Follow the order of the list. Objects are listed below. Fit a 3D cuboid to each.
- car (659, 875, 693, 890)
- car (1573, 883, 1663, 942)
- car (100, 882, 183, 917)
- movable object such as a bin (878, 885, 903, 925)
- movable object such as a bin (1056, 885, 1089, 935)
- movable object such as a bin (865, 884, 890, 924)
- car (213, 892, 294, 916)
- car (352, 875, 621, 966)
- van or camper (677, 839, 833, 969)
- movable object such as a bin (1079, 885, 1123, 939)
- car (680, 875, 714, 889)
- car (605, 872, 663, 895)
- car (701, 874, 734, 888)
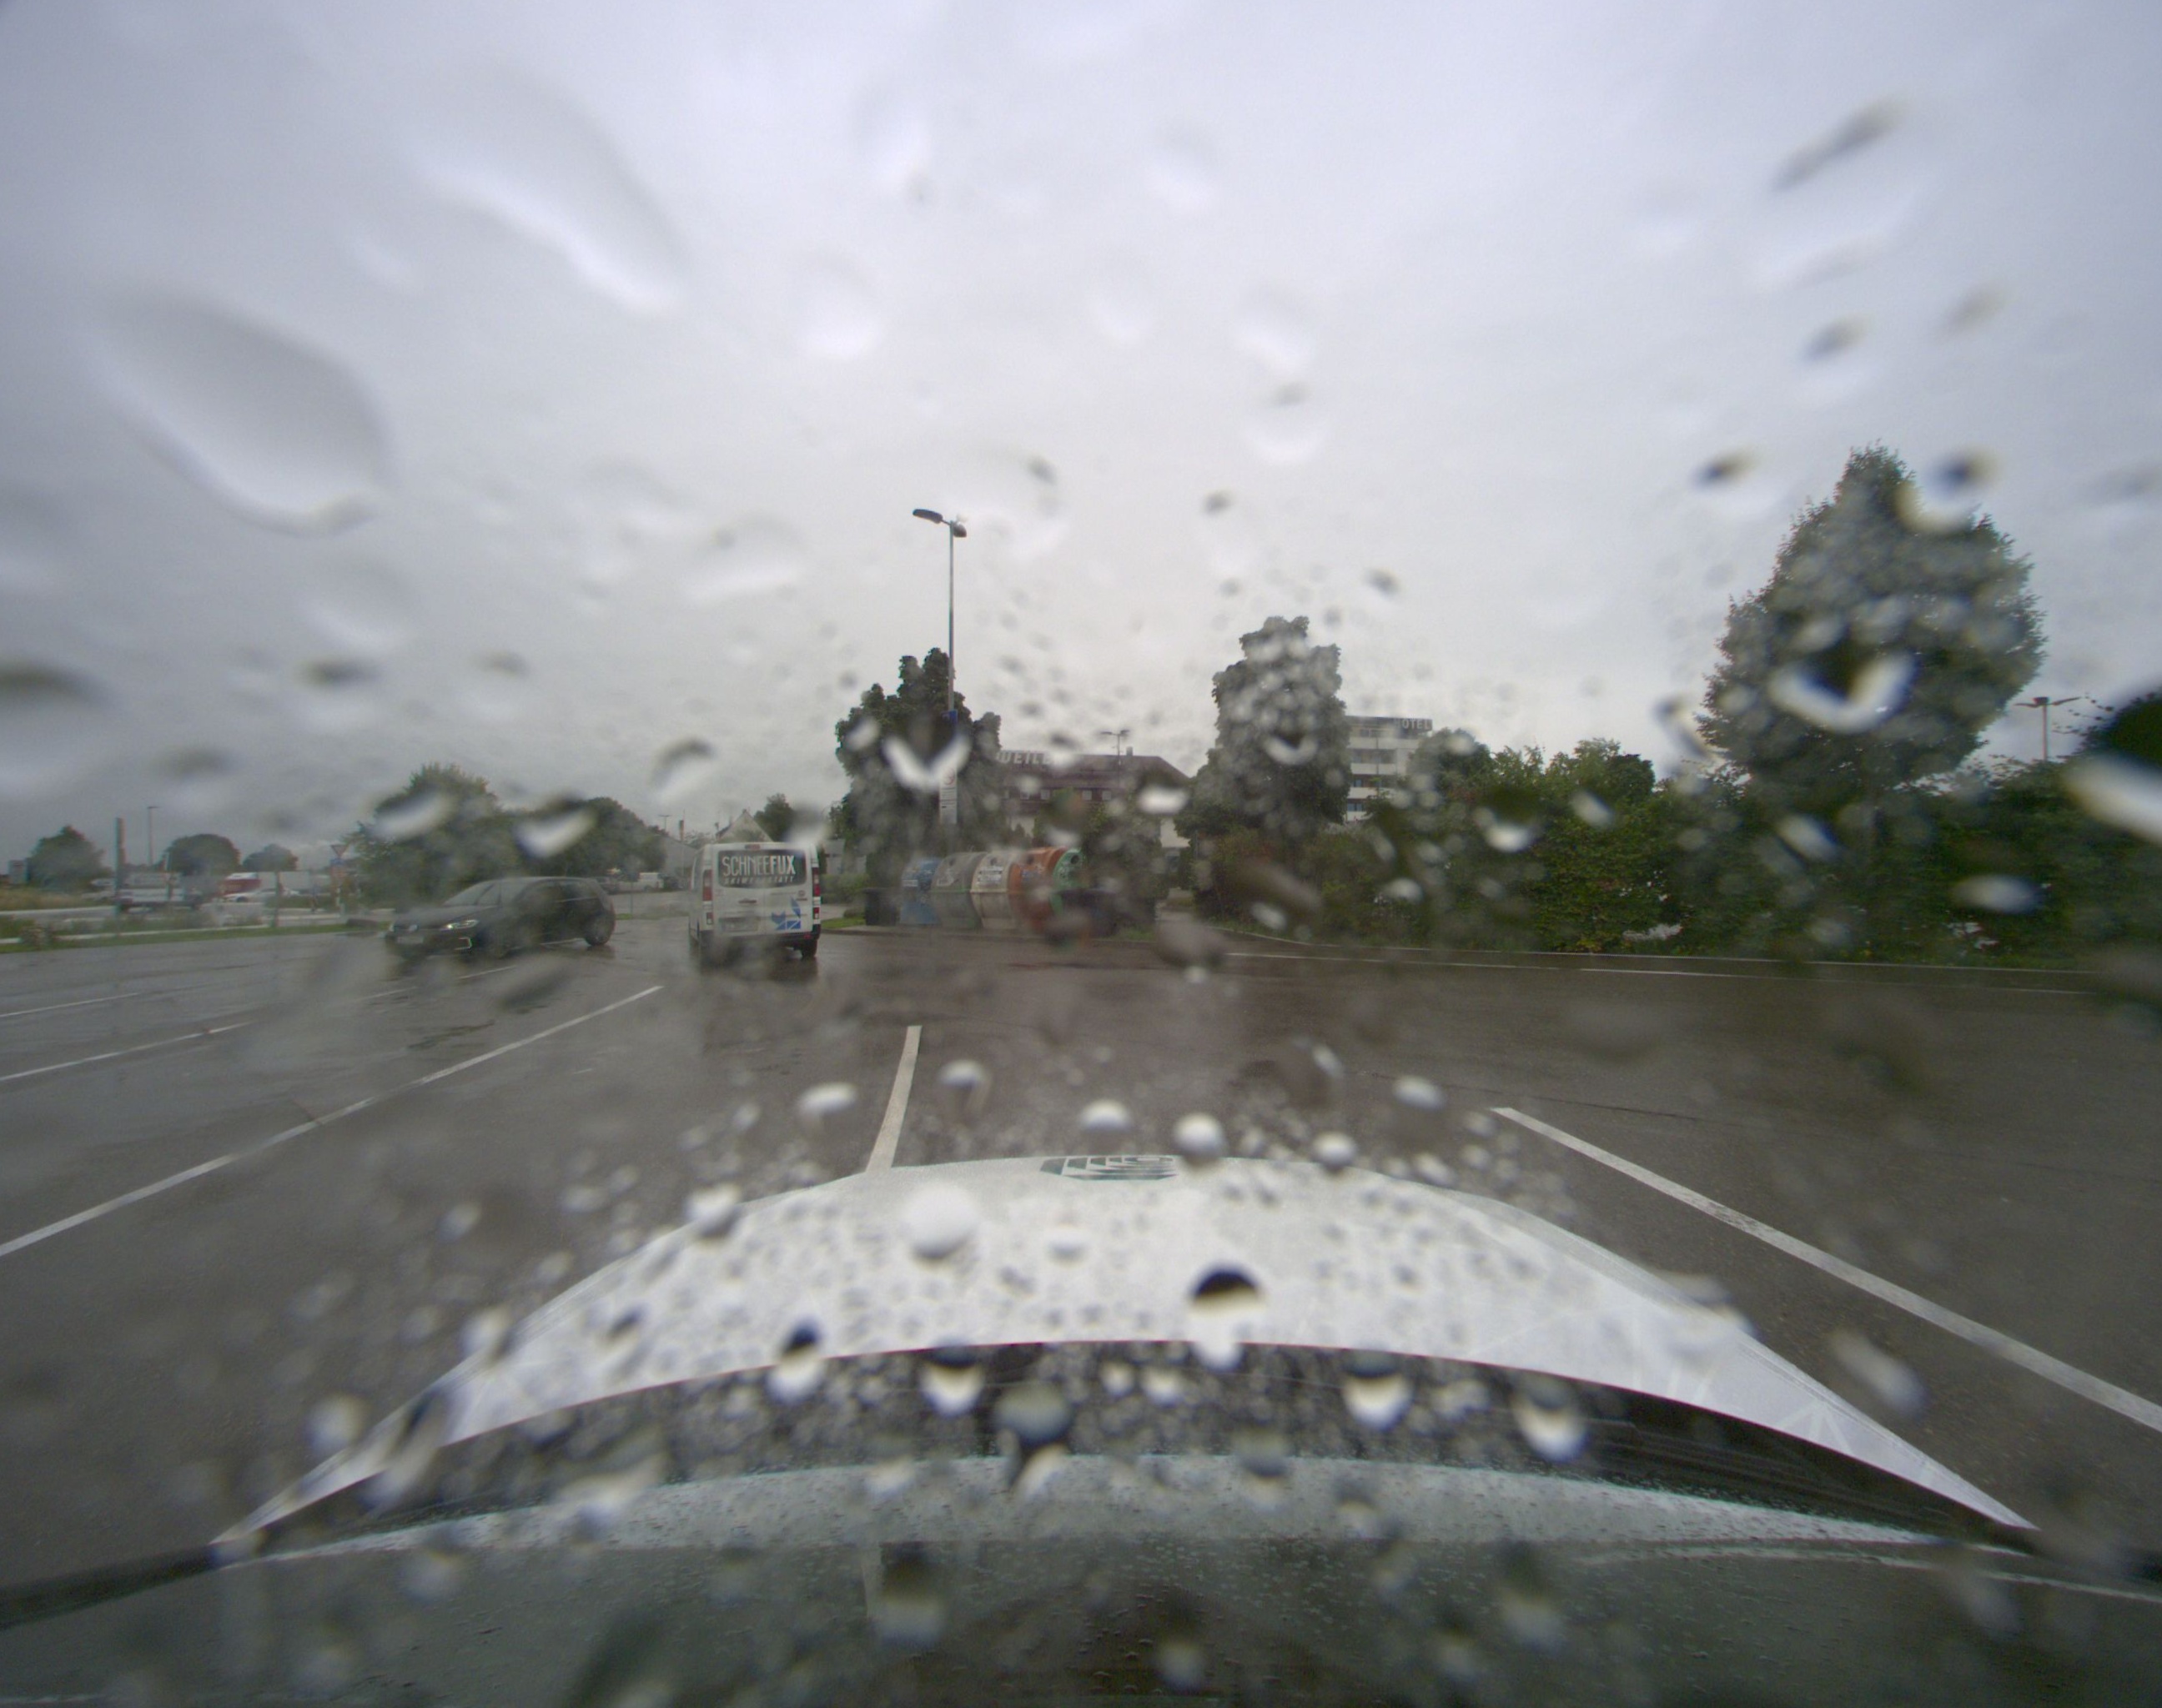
[{"bbox_3d":[-42.693,3.026,85.834,3.633,1.458,1.566,-2,-1,31],"label":"car"},{"bbox_3d":[16.201,1.678,24.468,1.861,1.472,4.798,-3,-2,38],"label":"car"},{"bbox_3d":[-54.319,2.591,47.186,2.008,1.873,4.595,-1,-1,-34],"label":"car"},{"bbox_3d":[-4.548,1.217,19.445,0.451,0.917,0.484,-1,-1,-32],"label":"movable object such as a bin"},{"bbox_3d":[-0.158,1.051,15.463,0.495,0.920,0.413,-1,-1,-21],"label":"movable object such as a bin"},{"bbox_3d":[-4.955,1.218,19.814,0.451,0.938,0.484,-1,-1,-32],"label":"movable object such as a bin"},{"bbox_3d":[-68.684,4.108,67.678,1.729,1.759,4.387,-2,-2,19],"label":"car"},{"bbox_3d":[-11.117,1.171,15.654,1.763,1.433,4.089,-1,-1,9],"label":"car"},{"bbox_3d":[-6.211,0.816,15.104,2.200,1.945,5.151,-1,-1,-27],"label":"van or camper"},{"bbox_3d":[0.356,1.037,14.784,0.630,0.920,0.553,-1,-1,-21],"label":"movable object such as a bin"},{"bbox_3d":[-41.746,3.051,88.489,3.633,1.458,1.595,-2,-1,31],"label":"car"},{"bbox_3d":[-42.809,2.774,78.129,4.525,2.033,1.638,-1,-1,-13],"label":"car"},{"bbox_3d":[-40.306,3.015,90.274,3.633,1.458,1.595,-2,-1,31],"label":"car"}]
